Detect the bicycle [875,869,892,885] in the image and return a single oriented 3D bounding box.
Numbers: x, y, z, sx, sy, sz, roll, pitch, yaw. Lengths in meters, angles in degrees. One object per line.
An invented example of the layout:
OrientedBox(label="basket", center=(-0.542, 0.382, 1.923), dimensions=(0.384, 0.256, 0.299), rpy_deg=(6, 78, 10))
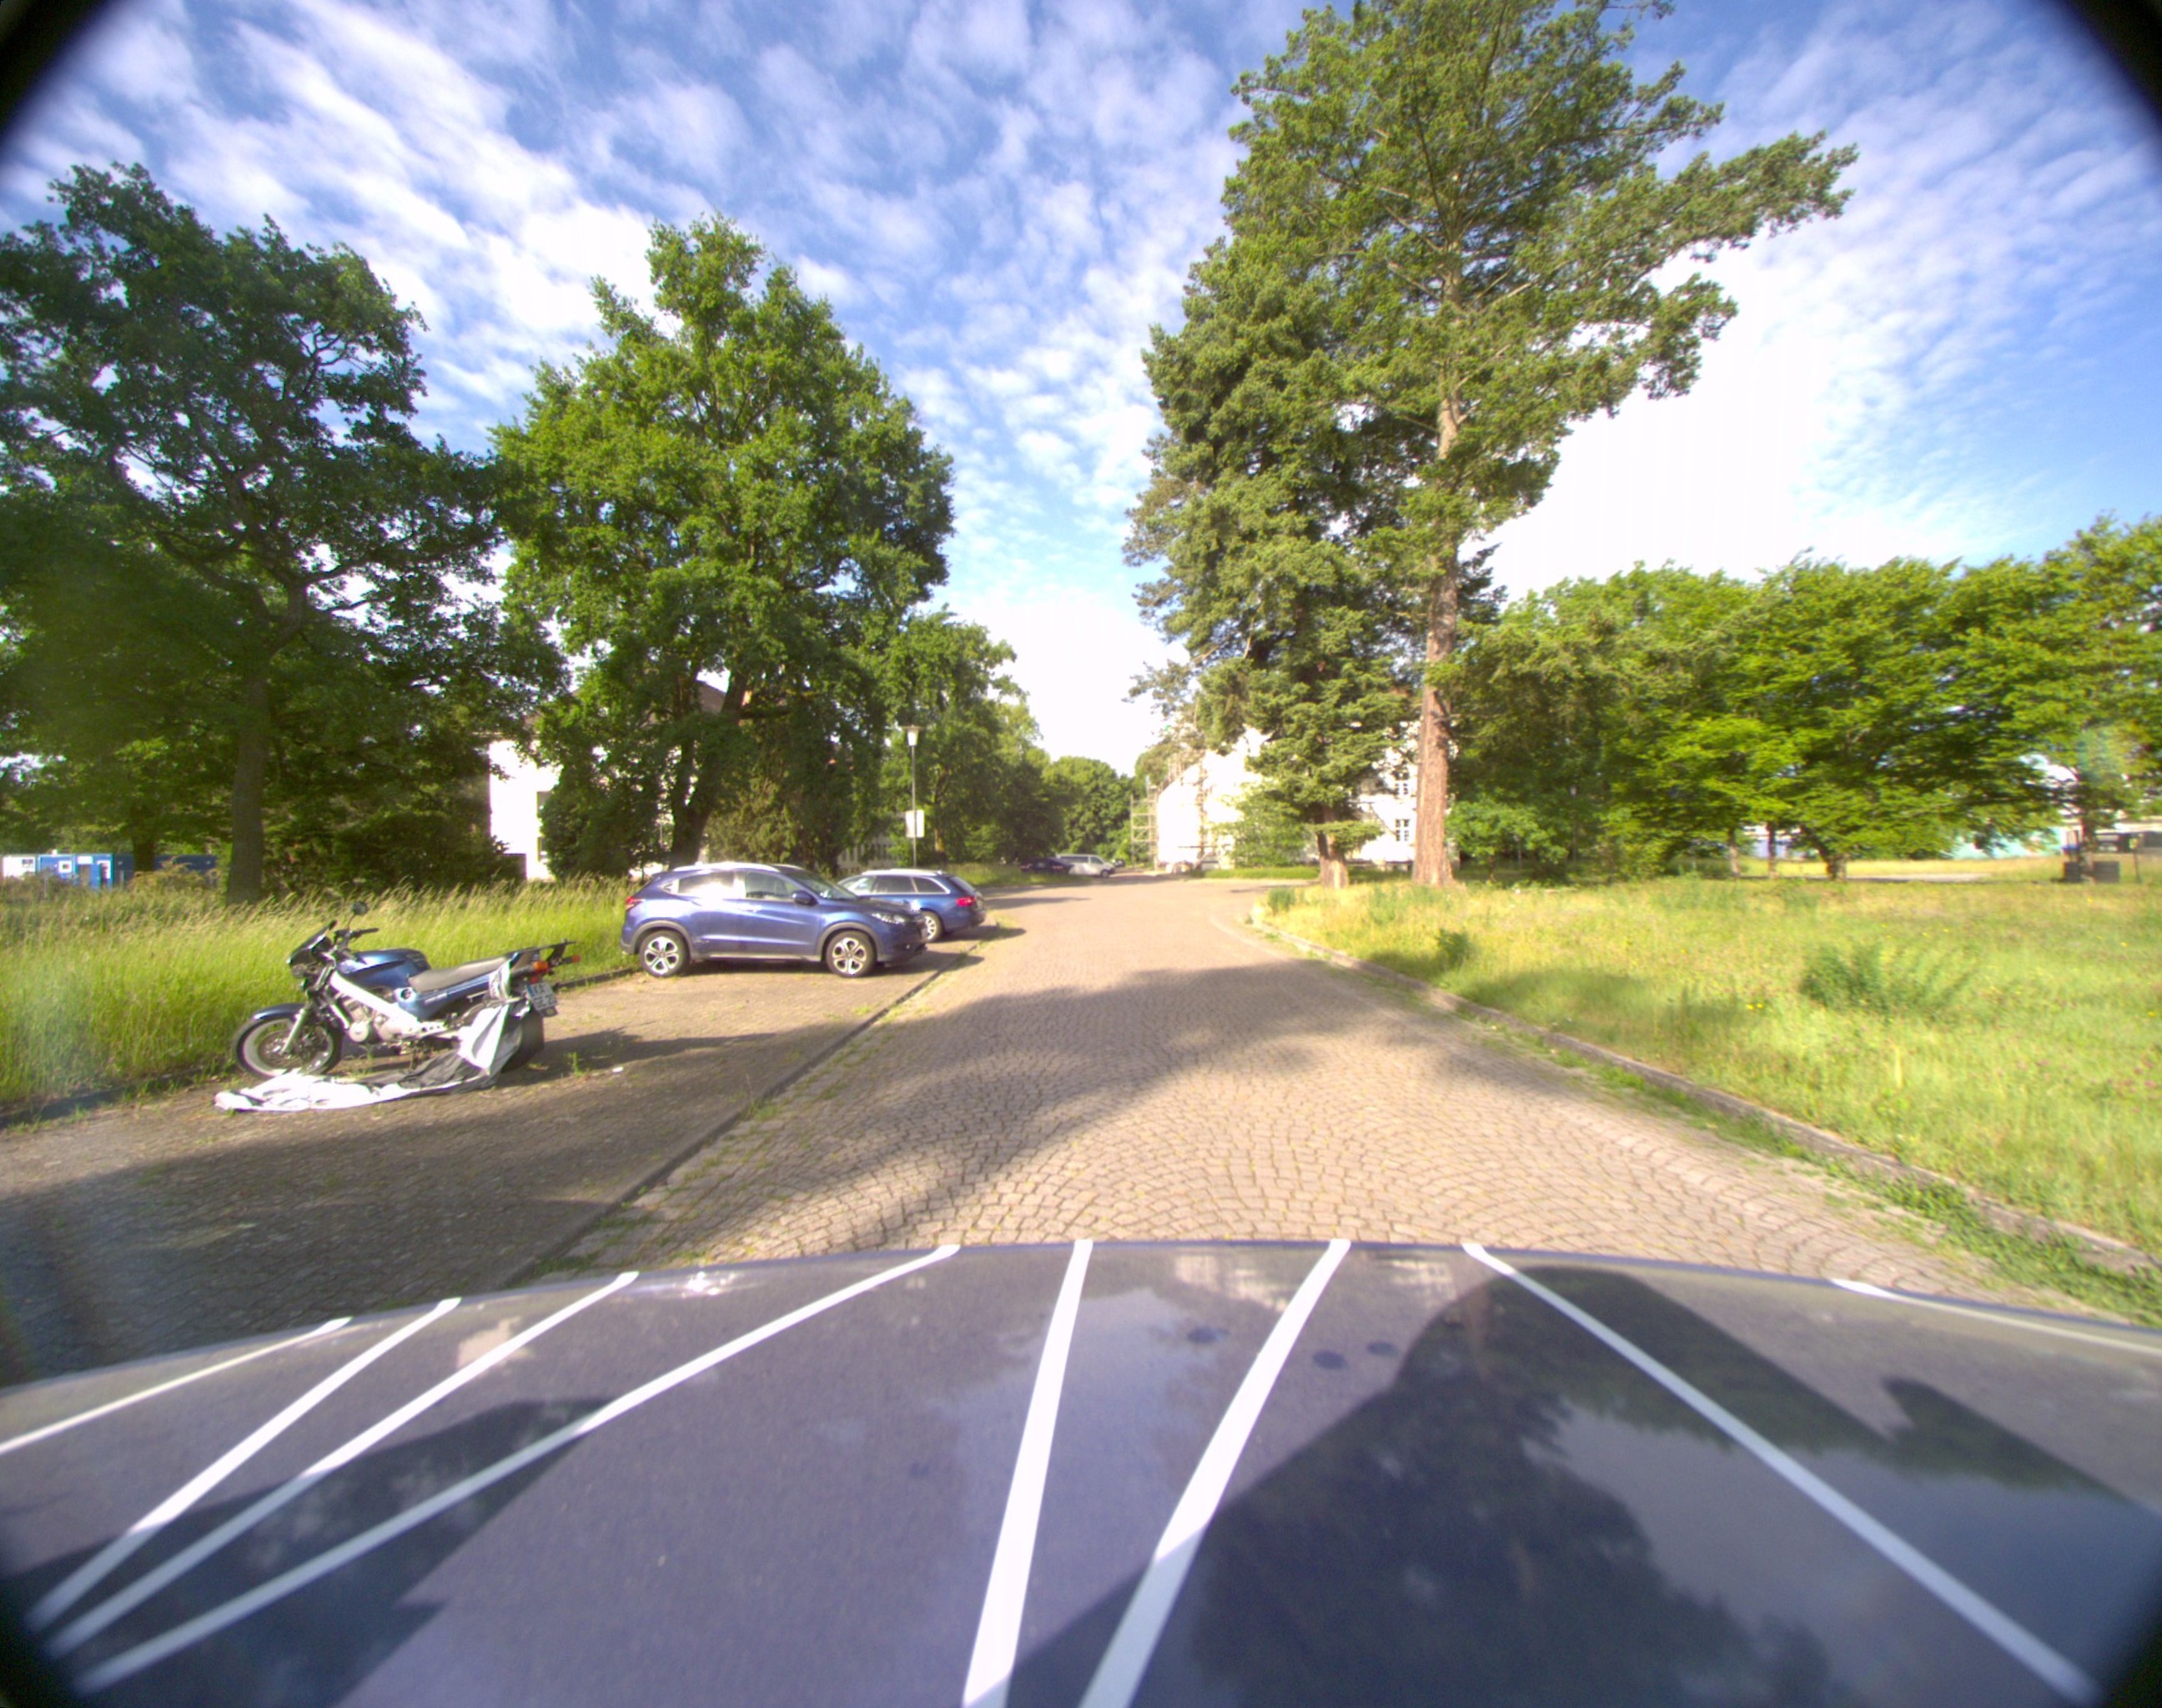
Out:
OrientedBox(label="bicycle", center=(-12.843, 1.511, 49.441), dimensions=(0.712, 1.010, 1.024), rpy_deg=(-1, 0, -36))

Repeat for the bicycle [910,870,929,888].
OrientedBox(label="bicycle", center=(-9.486, 1.448, 44.601), dimensions=(0.710, 1.010, 1.257), rpy_deg=(-1, 0, 8))

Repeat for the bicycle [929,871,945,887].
OrientedBox(label="bicycle", center=(-8.519, 1.474, 44.993), dimensions=(0.747, 0.929, 1.140), rpy_deg=(-1, 0, -2))

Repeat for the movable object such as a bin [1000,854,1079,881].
OrientedBox(label="movable object such as a bin", center=(-2.797, 0.932, 51.779), dimensions=(4.931, 1.749, 2.002), rpy_deg=(-1, 0, 16))

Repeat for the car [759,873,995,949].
OrientedBox(label="car", center=(-4.159, 1.147, 15.902), dimensions=(4.459, 1.399, 1.714), rpy_deg=(0, 0, 4))

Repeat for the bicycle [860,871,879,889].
OrientedBox(label="bicycle", center=(-12.620, 1.565, 45.317), dimensions=(0.710, 1.010, 1.028), rpy_deg=(-1, 0, 8))

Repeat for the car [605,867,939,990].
OrientedBox(label="car", center=(-4.378, 1.027, 11.227), dimensions=(4.187, 1.581, 1.751), rpy_deg=(-1, 0, 0))

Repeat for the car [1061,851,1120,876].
OrientedBox(label="car", center=(0.810, 0.816, 64.732), dimensions=(4.936, 2.002, 2.000), rpy_deg=(-1, 0, 1))

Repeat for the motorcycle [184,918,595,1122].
OrientedBox(label="motorcycle", center=(-4.901, 1.153, 5.494), dimensions=(2.305, 1.312, 0.726), rpy_deg=(0, 0, 0))

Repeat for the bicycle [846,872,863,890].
OrientedBox(label="bicycle", center=(-13.389, 1.582, 44.954), dimensions=(0.619, 1.010, 1.027), rpy_deg=(-1, 0, 4))
